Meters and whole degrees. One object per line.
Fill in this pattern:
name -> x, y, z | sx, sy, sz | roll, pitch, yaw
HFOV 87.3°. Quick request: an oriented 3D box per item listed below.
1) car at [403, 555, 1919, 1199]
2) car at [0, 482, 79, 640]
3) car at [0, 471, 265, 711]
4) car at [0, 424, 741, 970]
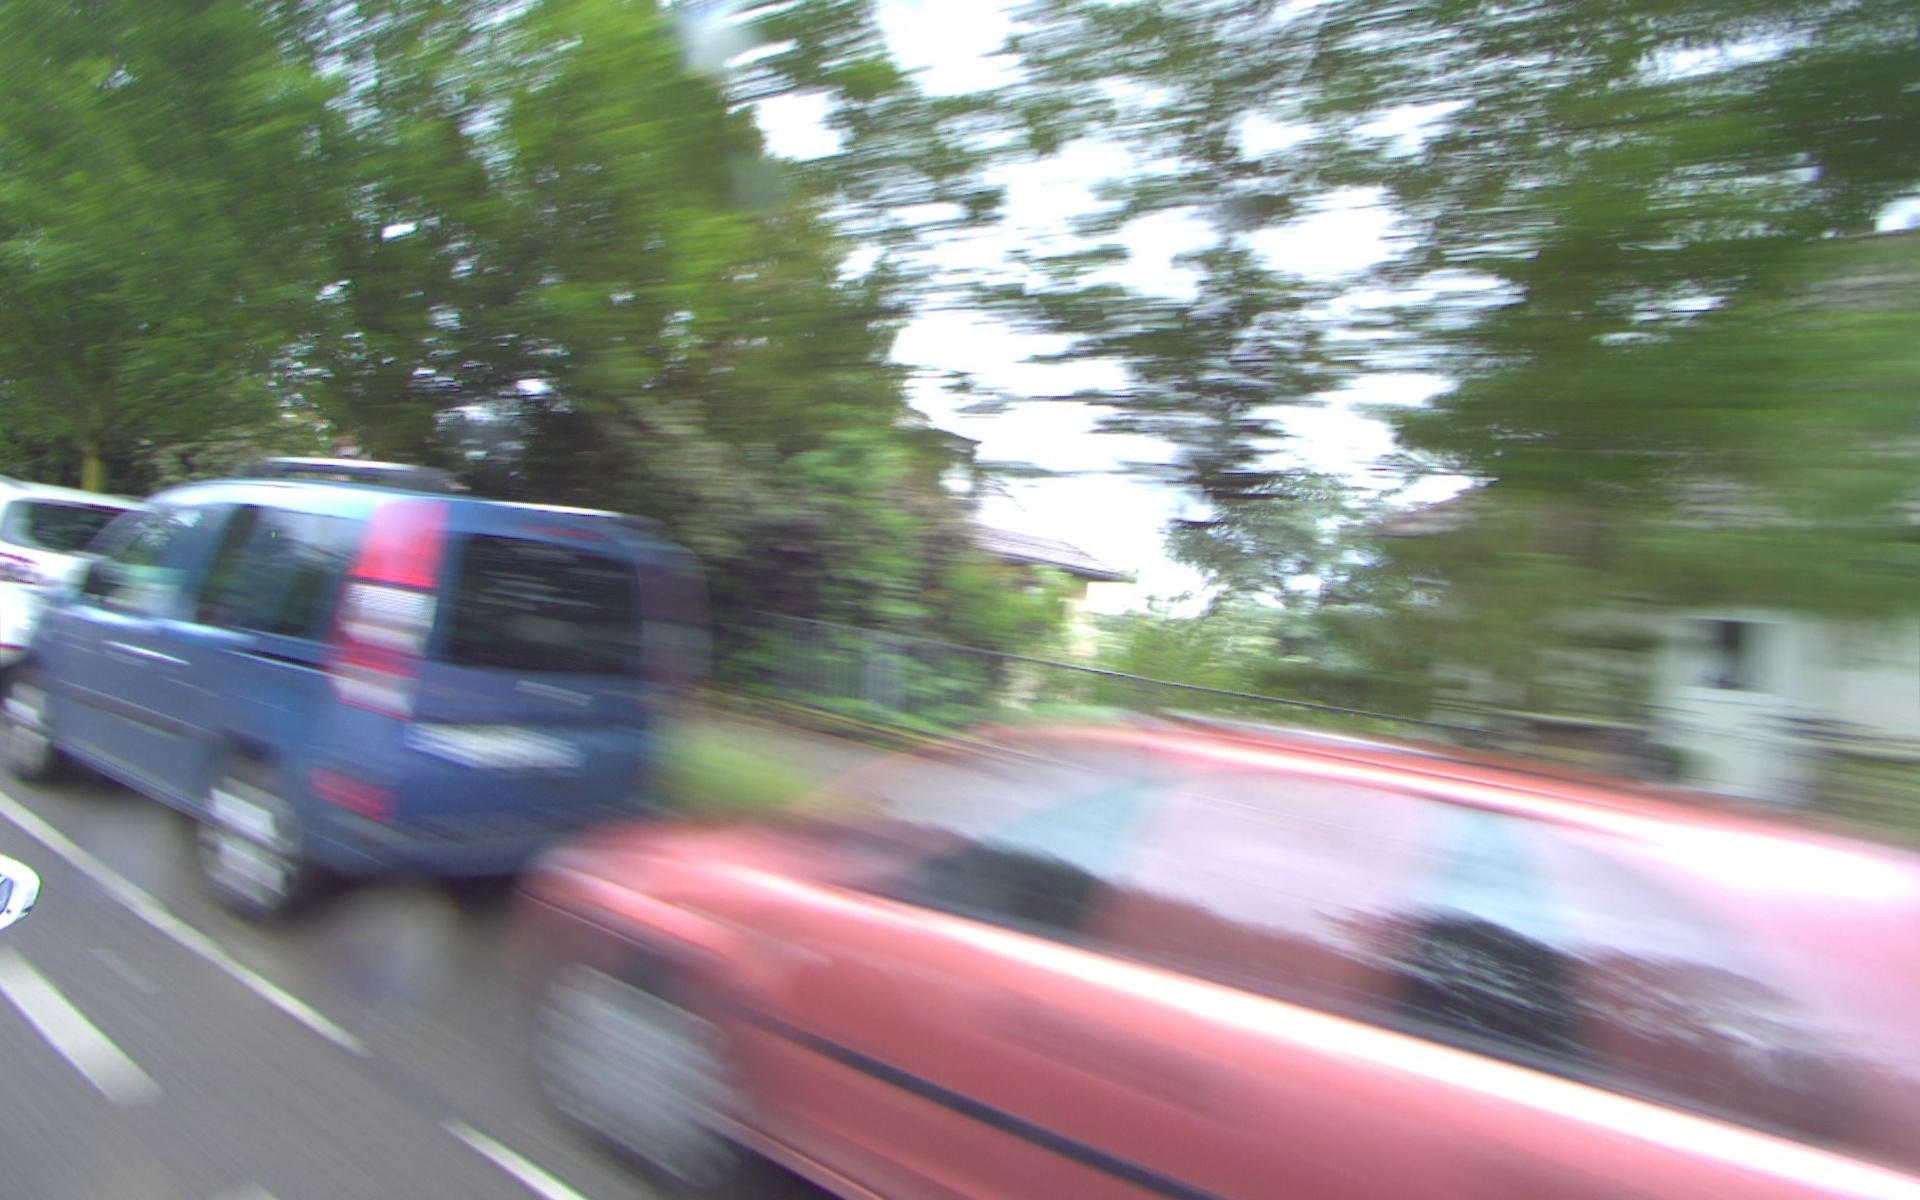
car -> 0.469, 0.894, 2.677 | 3.955, 1.498, 1.652 | 7, -3, 34
car -> -11.996, -0.708, 11.149 | 4.770, 1.554, 1.998 | 7, -2, 33
car -> -8.032, -0.218, 8.525 | 4.152, 1.627, 1.788 | 7, -2, 30
car -> -3.513, 0.233, 5.440 | 4.352, 1.872, 1.782 | 7, -2, 32
